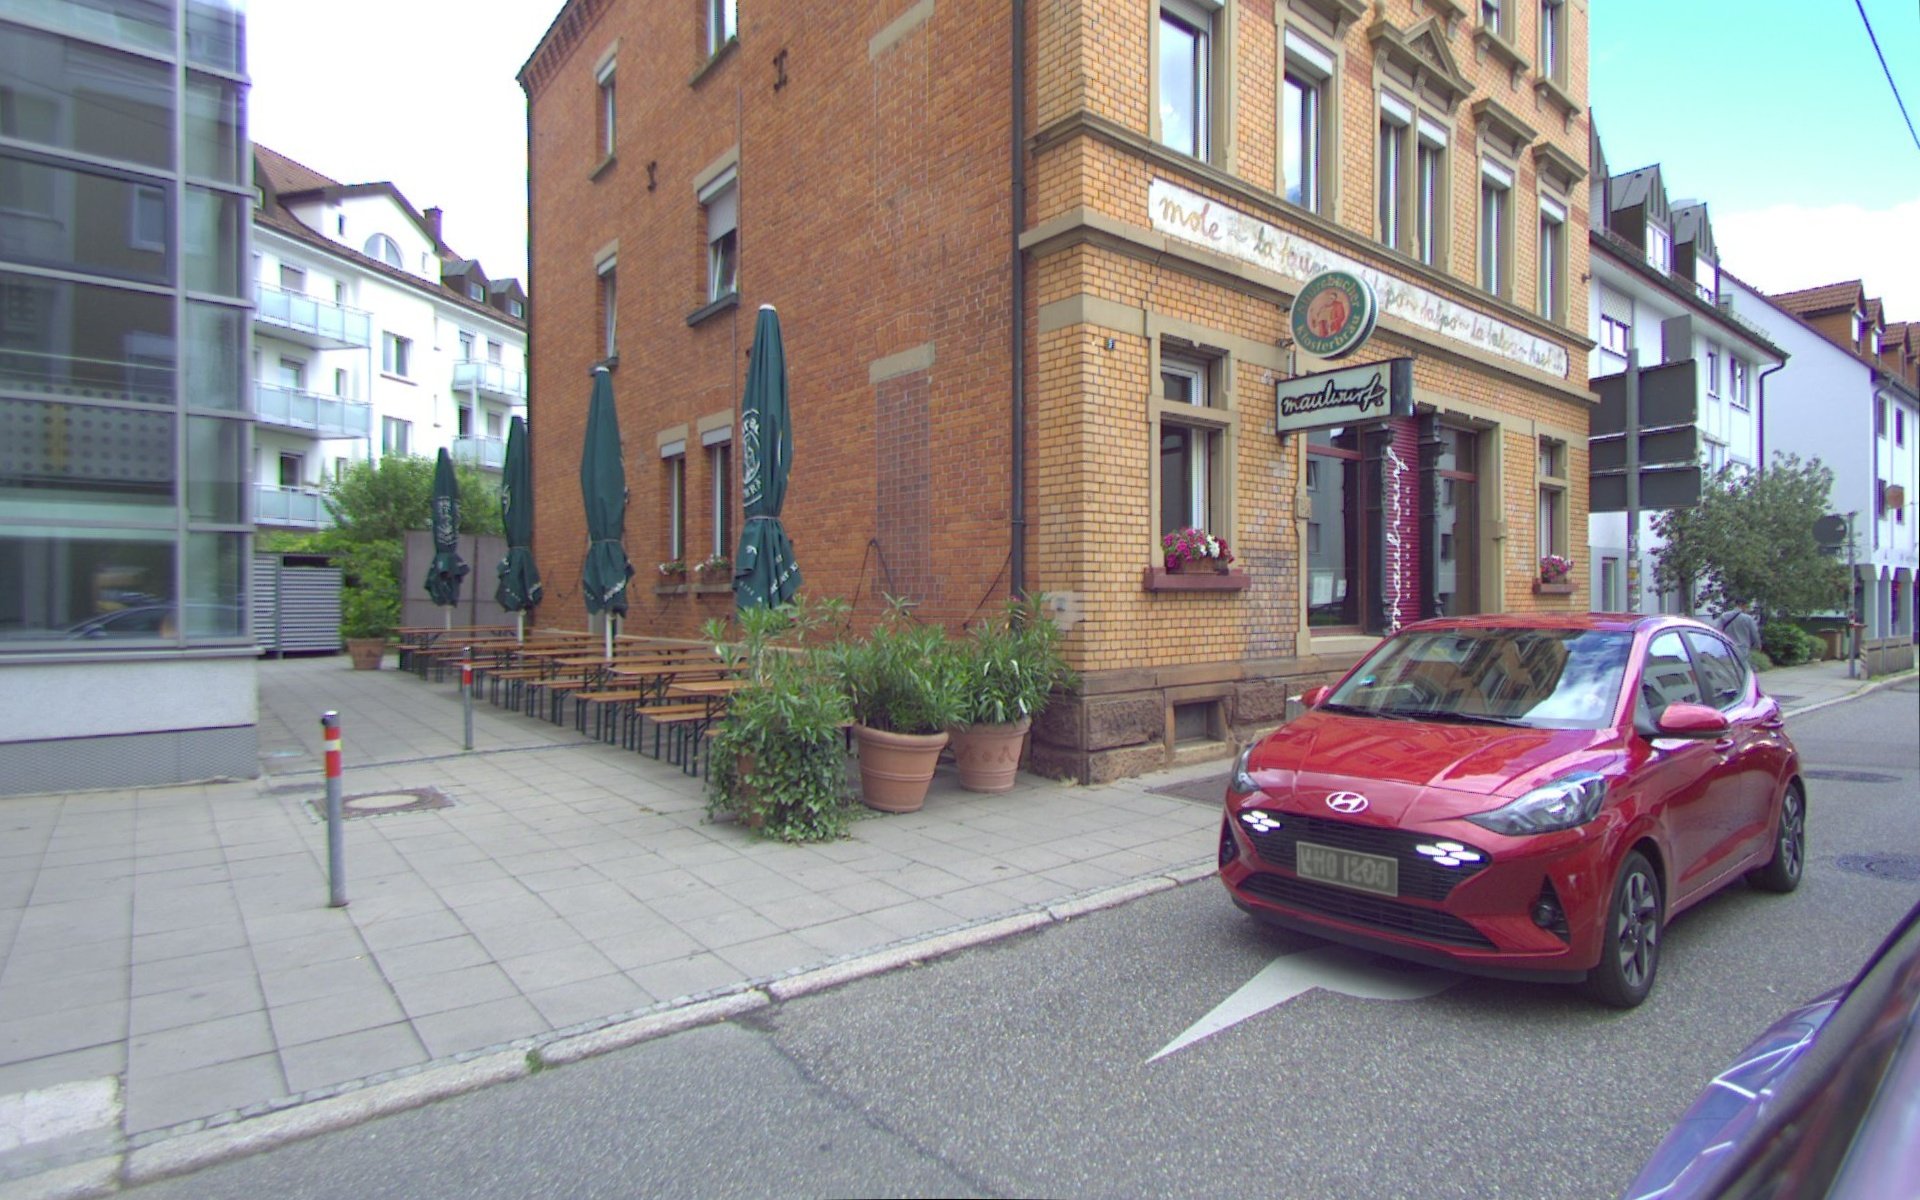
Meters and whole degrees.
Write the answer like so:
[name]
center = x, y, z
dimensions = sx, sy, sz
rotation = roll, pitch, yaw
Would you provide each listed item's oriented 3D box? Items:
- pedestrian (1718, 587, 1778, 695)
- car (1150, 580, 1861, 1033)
[pedestrian]
center = 13.102, 0.656, 16.828
dimensions = 0.638, 1.753, 0.689
rotation = 0, 0, -41
[car]
center = 2.964, 0.695, 5.184
dimensions = 3.926, 1.471, 1.702
rotation = 0, -2, -37
